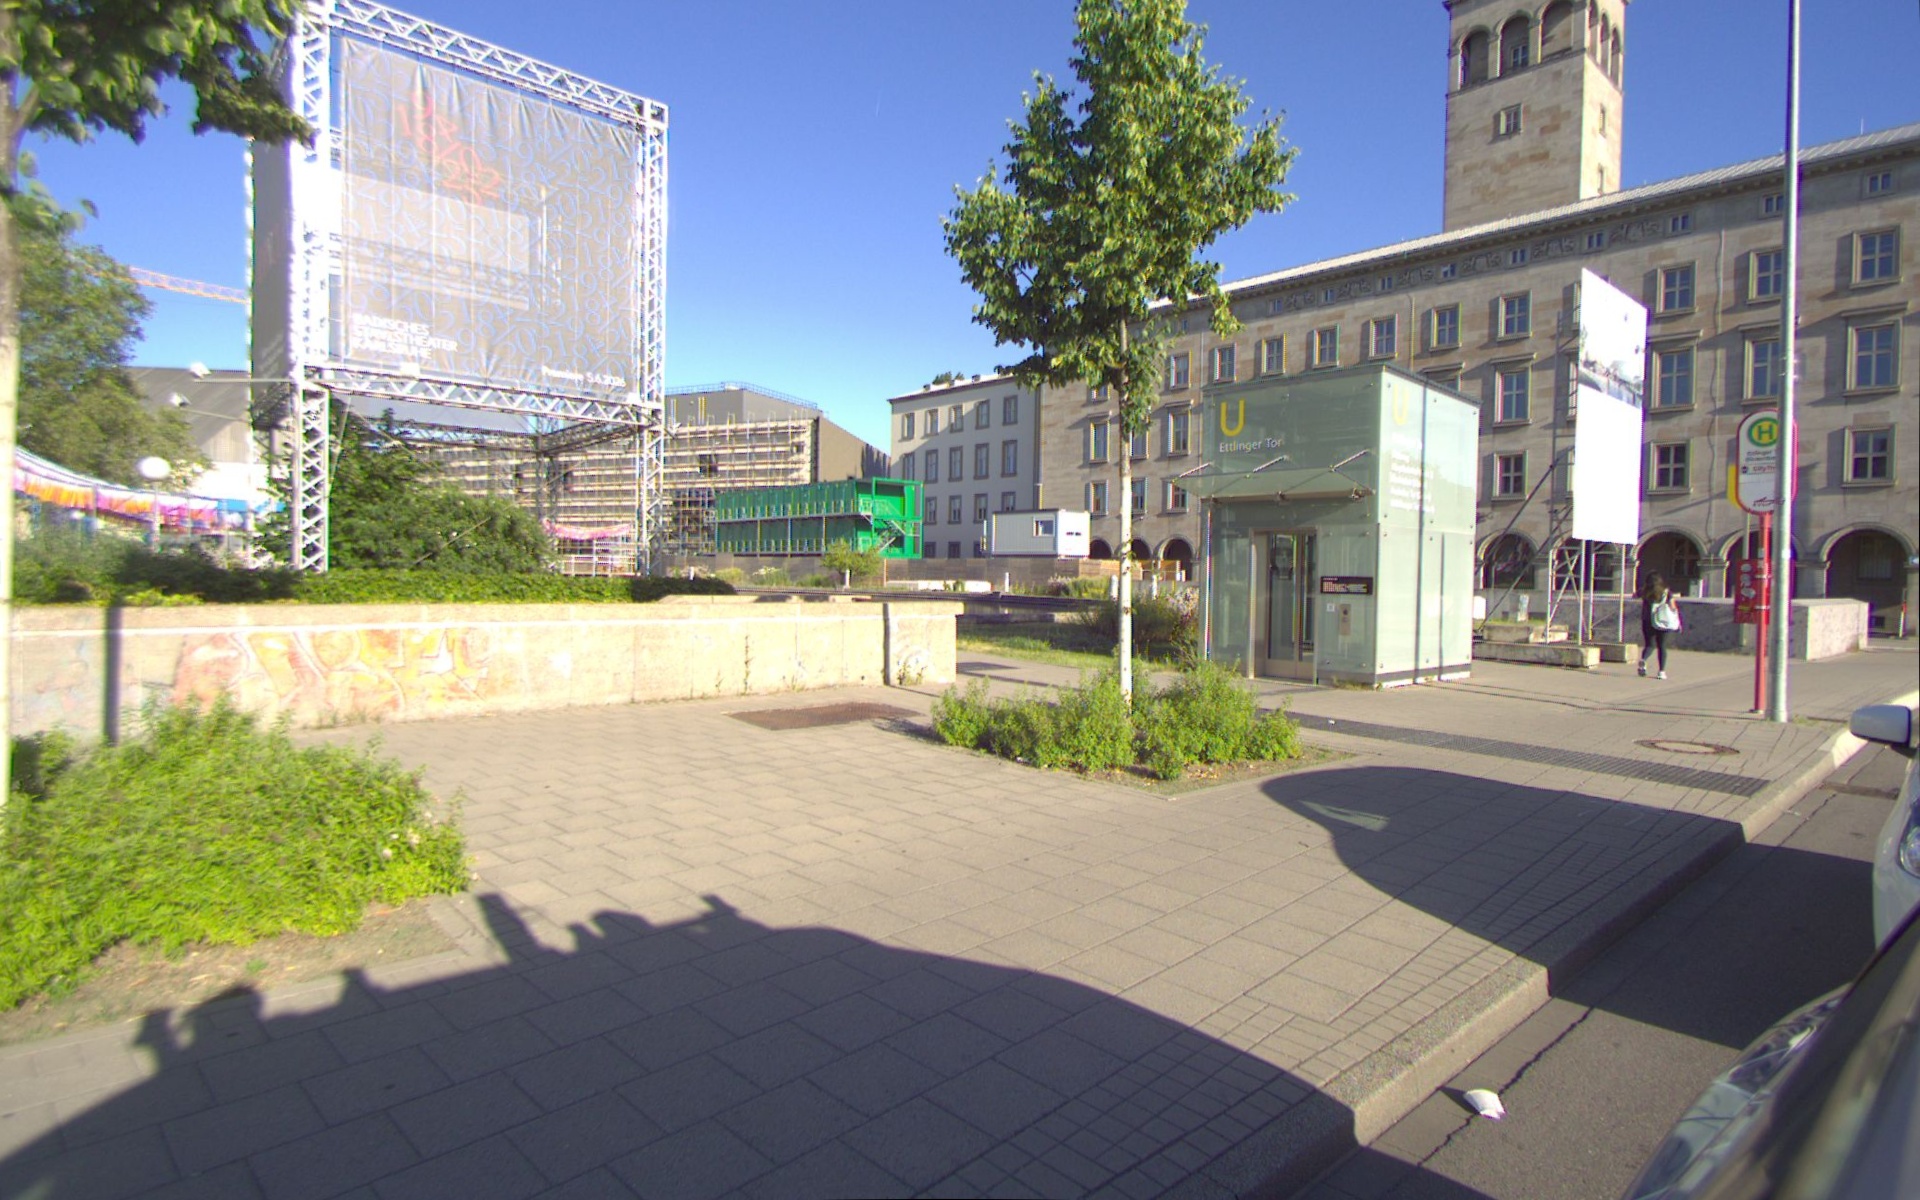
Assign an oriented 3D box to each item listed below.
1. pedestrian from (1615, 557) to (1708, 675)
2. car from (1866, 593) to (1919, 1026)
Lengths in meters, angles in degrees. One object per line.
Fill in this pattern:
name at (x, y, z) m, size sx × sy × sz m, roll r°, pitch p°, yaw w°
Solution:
pedestrian at (11.381, 0.237, 16.411) m, size 1.053 × 1.809 × 0.942 m, roll 0°, pitch 2°, yaw -41°
car at (5.187, 0.711, 4.044) m, size 3.817 × 1.467 × 1.679 m, roll 0°, pitch 0°, yaw -38°
